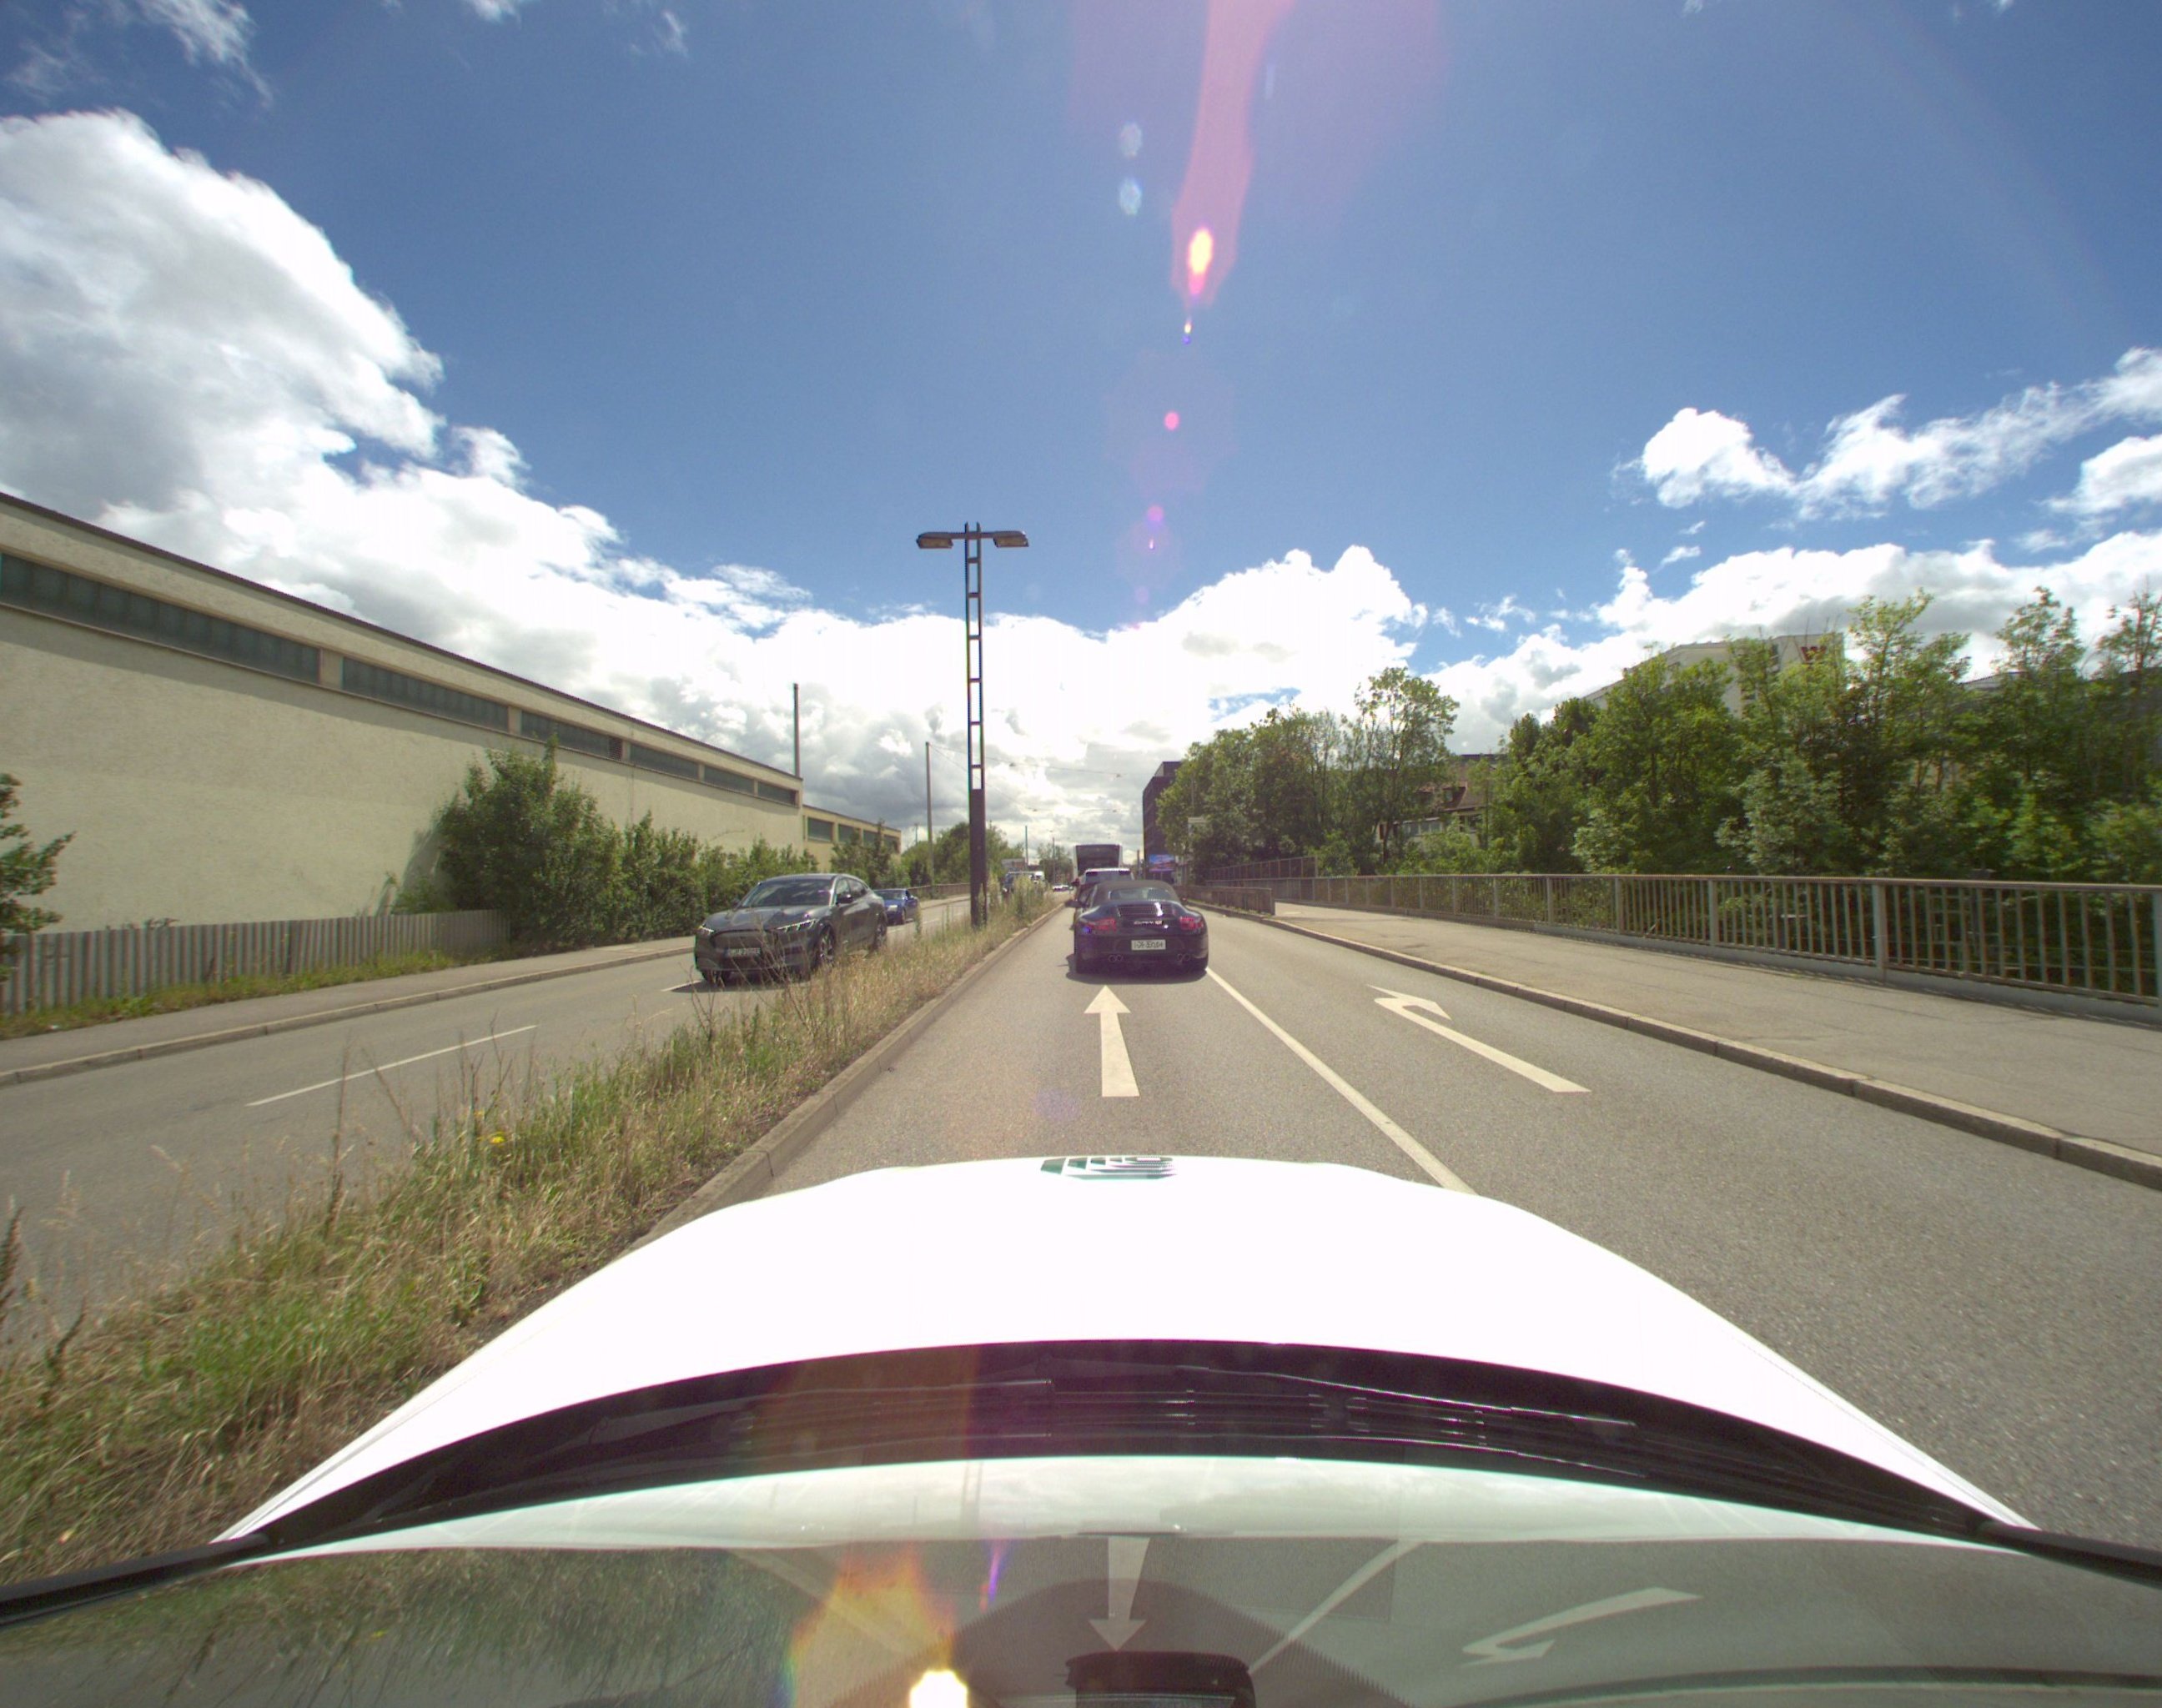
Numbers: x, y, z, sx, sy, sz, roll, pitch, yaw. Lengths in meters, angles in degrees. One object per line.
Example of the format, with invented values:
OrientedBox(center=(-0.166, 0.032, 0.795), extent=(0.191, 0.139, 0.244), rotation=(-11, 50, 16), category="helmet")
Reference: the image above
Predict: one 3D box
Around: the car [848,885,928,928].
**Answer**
OrientedBox(center=(-6.879, 1.860, 29.423), extent=(1.748, 1.276, 4.001), rotation=(-4, -2, 1), category="car")

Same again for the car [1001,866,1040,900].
OrientedBox(center=(-3.609, 1.731, 49.361), extent=(1.987, 1.888, 4.866), rotation=(-2, -1, -1), category="car")

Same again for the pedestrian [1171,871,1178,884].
OrientedBox(center=(12.084, 3.029, 105.661), extent=(0.673, 1.696, 0.602), rotation=(-2, -3, 26), category="pedestrian")

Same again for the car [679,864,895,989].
OrientedBox(center=(-4.669, 1.053, 13.733), extent=(1.871, 1.627, 4.444), rotation=(-3, -1, 1), category="car")

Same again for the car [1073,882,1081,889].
OrientedBox(center=(-0.856, 6.829, 175.420), extent=(1.622, 1.431, 4.000), rotation=(-1, -3, 1), category="car")

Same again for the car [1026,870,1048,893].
OrientedBox(center=(-5.244, 3.302, 97.408), extent=(2.059, 2.571, 6.821), rotation=(-3, -2, 1), category="car")

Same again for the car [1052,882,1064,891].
OrientedBox(center=(-3.828, 5.403, 136.465), extent=(1.631, 1.363, 4.194), rotation=(-2, -2, 1), category="car")

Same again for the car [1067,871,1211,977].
OrientedBox(center=(0.719, 0.941, 12.558), extent=(1.716, 1.275, 4.083), rotation=(-1, 0, -3), category="car")

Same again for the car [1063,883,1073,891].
OrientedBox(center=(-2.557, 6.384, 157.345), extent=(1.804, 1.560, 4.206), rotation=(-1, -2, 0), category="car")

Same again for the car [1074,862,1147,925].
OrientedBox(center=(0.843, 1.038, 23.112), extent=(1.872, 1.594, 4.231), rotation=(0, 0, 2), category="car")

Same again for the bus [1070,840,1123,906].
OrientedBox(center=(1.014, 0.858, 46.802), extent=(2.678, 3.255, 12.064), rotation=(0, 1, 2), category="bus")
